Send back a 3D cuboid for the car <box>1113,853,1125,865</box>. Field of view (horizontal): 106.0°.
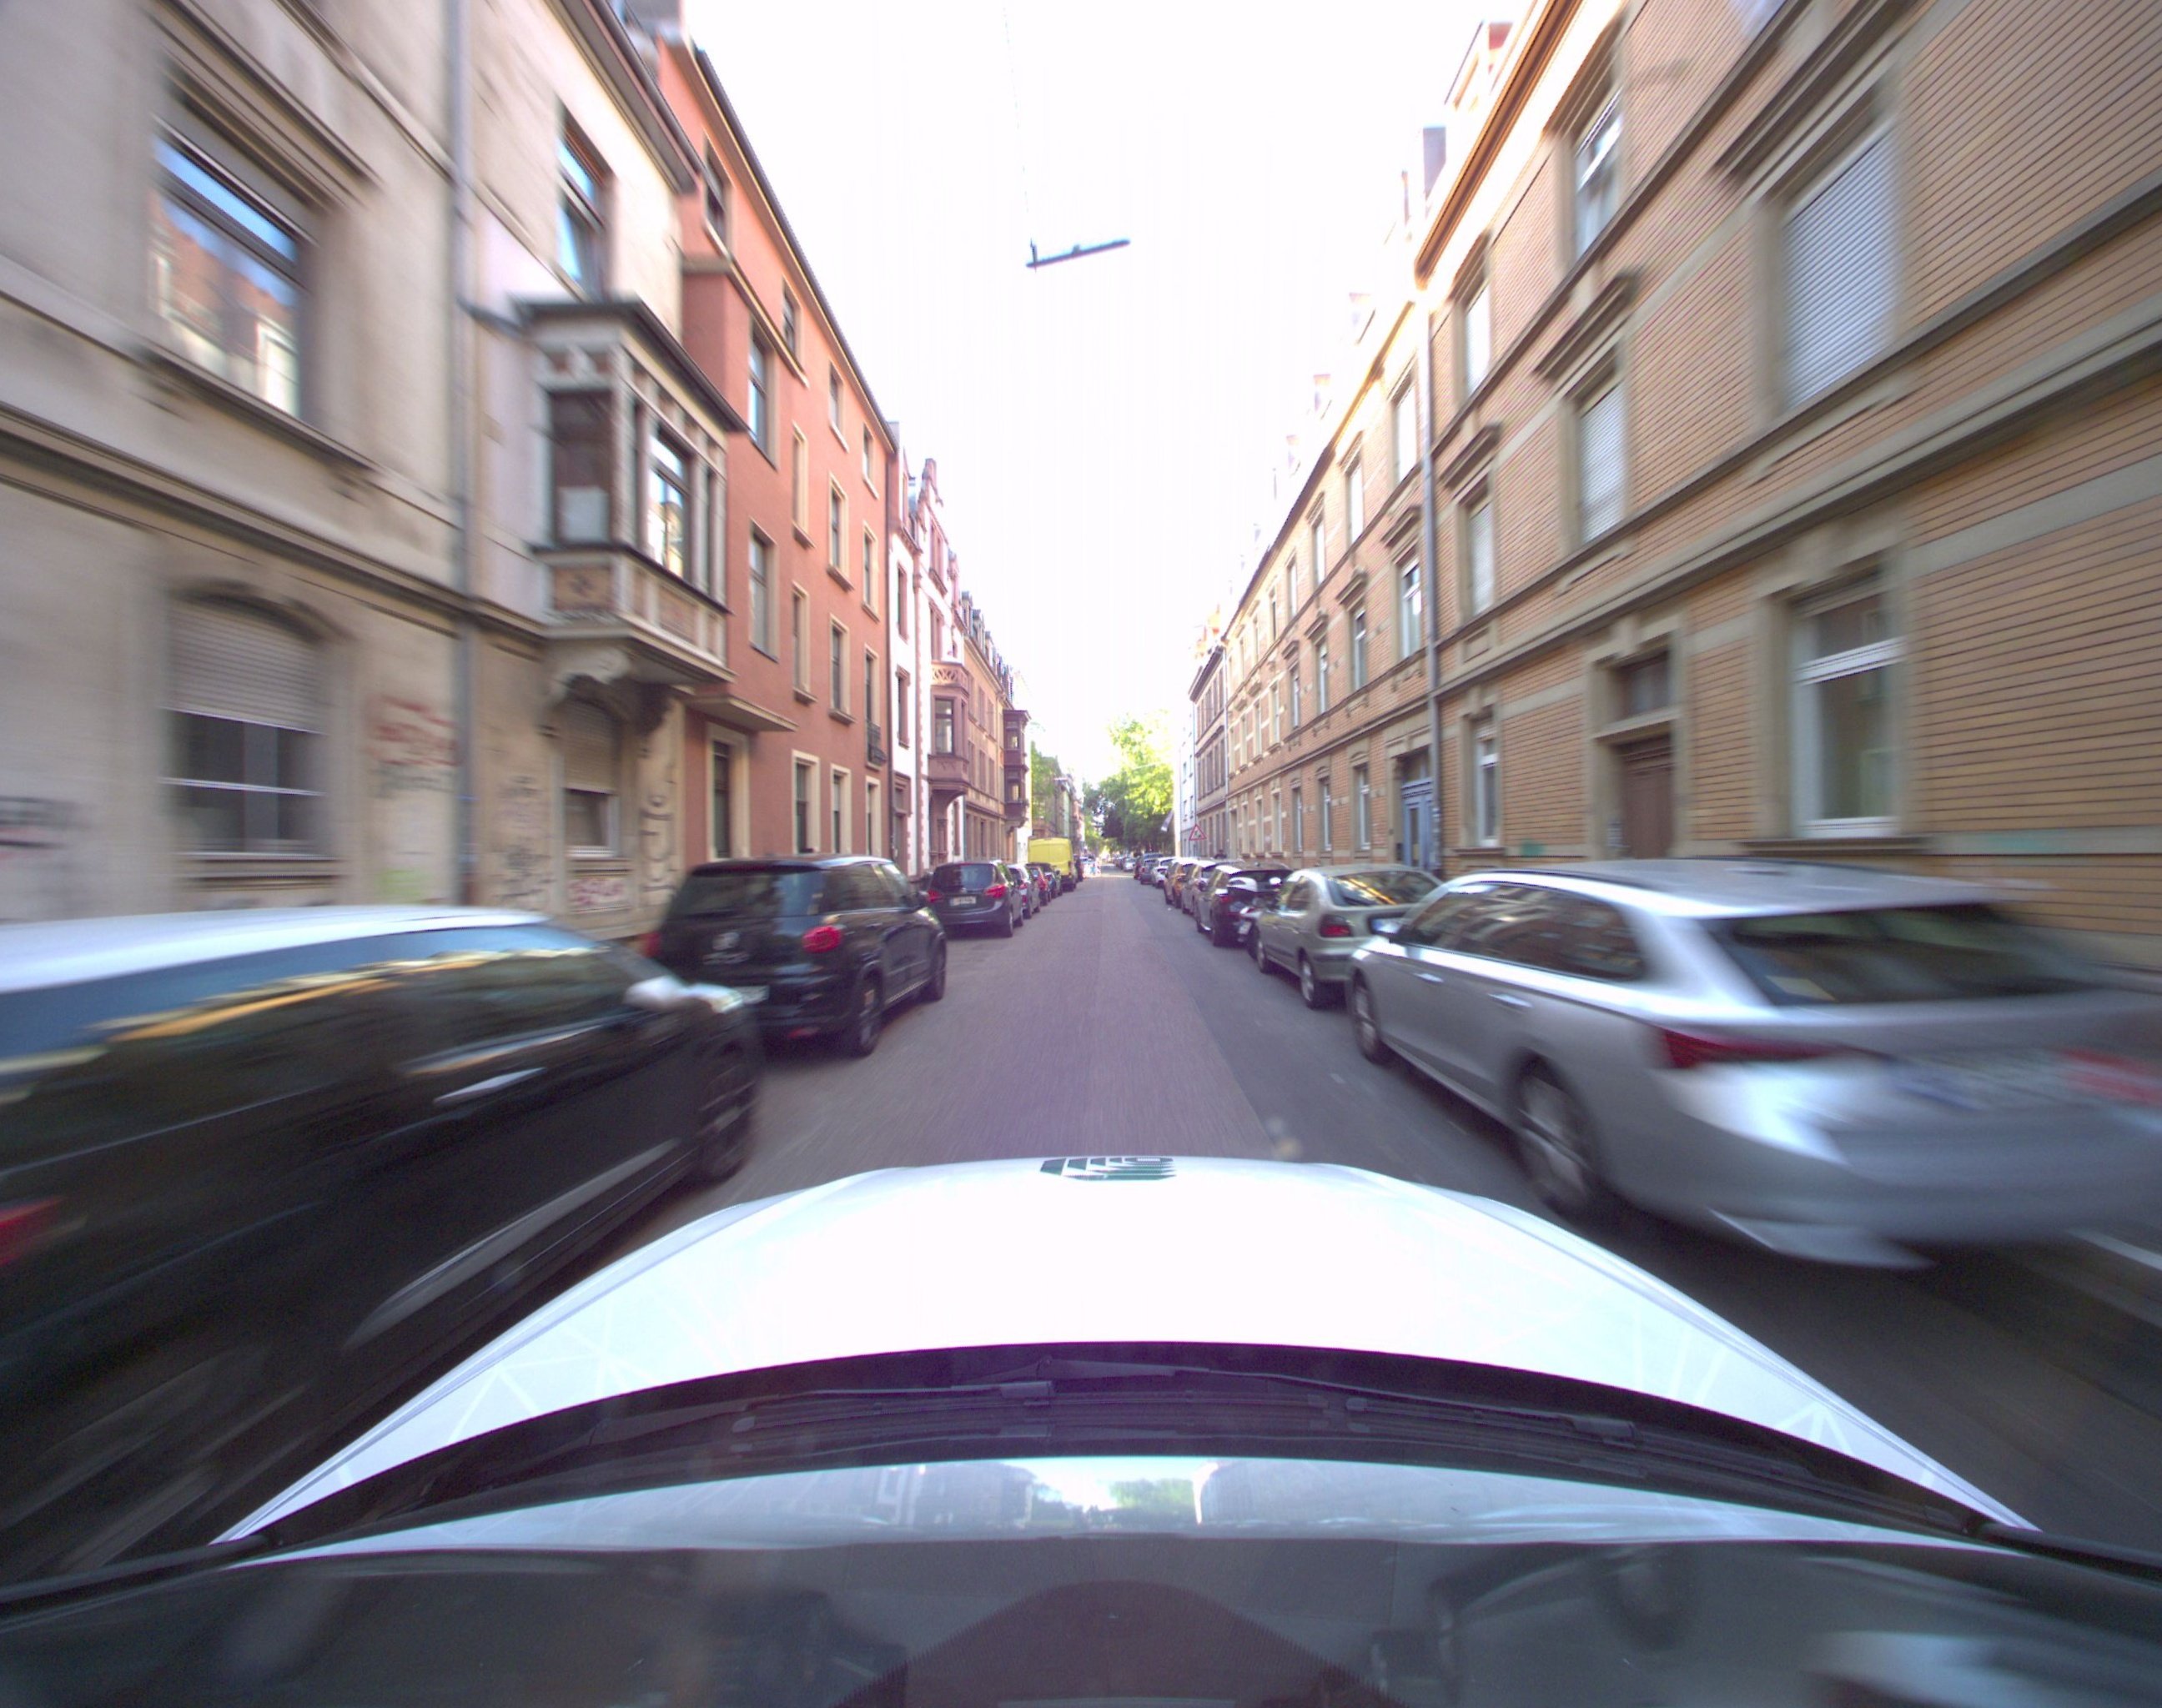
[{"bbox_3d":[7.446,1.057,158.961,2.153,2.255,4.525,-2,-1,1],"label":"car"}]

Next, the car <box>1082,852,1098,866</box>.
[{"bbox_3d":[1.464,0.844,131.554,2.300,2.114,5.173,-2,-1,3],"label":"car"}]

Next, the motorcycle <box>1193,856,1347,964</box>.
[{"bbox_3d":[2.900,0.803,12.478,2.229,1.536,0.883,0,0,-25],"label":"motorcycle"}]

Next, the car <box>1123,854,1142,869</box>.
[{"bbox_3d":[5.470,0.776,87.286,1.719,1.522,3.998,-3,0,-1],"label":"car"}]

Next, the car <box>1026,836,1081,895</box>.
[{"bbox_3d":[-1.264,0.517,39.856,2.167,2.507,5.880,-5,0,1],"label":"car"}]

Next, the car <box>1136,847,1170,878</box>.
[{"bbox_3d":[4.653,0.540,53.182,1.747,1.786,4.725,-5,0,2],"label":"car"}]

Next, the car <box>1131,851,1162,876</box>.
[{"bbox_3d":[4.638,0.676,57.855,1.894,1.640,4.392,-2,-1,1],"label":"car"}]

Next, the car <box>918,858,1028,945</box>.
[{"bbox_3d":[-2.224,0.923,17.804,1.775,1.606,4.069,-2,0,0],"label":"car"}]

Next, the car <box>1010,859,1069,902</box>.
[{"bbox_3d":[-1.623,1.024,33.183,1.711,1.412,3.903,-7,0,5],"label":"car"}]

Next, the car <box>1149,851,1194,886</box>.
[{"bbox_3d":[4.575,0.696,41.851,1.748,1.518,4.444,-6,0,1],"label":"car"}]

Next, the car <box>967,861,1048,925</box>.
[{"bbox_3d":[-1.970,1.019,22.931,1.688,1.474,3.921,-5,0,2],"label":"car"}]

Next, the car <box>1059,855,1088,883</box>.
[{"bbox_3d":[-0.515,0.962,54.626,1.813,1.766,4.333,-2,0,-1],"label":"car"}]

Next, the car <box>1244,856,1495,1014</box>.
[{"bbox_3d":[3.124,0.773,9.698,1.685,1.406,3.995,-2,0,2],"label":"car"}]

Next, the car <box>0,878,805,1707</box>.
[{"bbox_3d":[-2.514,0.934,2.844,1.637,1.455,3.839,-5,0,1],"label":"car"}]

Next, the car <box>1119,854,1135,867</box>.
[{"bbox_3d":[6.142,0.873,108.568,1.888,1.625,4.000,-2,-1,1],"label":"car"}]

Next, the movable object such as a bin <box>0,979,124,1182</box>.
[{"bbox_3d":[-5.621,1.160,4.142,0.610,0.920,0.734,-2,0,1],"label":"movable object such as a bin"}]

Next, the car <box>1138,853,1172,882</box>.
[{"bbox_3d":[4.296,0.755,47.748,1.746,1.452,4.291,-6,0,3],"label":"car"}]

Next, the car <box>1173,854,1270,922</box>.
[{"bbox_3d":[3.591,0.807,21.502,1.720,1.417,4.093,-6,0,0],"label":"car"}]

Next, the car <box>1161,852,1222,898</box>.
[{"bbox_3d":[4.166,0.750,31.214,1.715,1.480,4.083,-6,0,1],"label":"car"}]

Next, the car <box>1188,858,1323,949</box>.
[{"bbox_3d":[3.165,0.827,15.612,1.770,1.397,4.320,-2,0,2],"label":"car"}]

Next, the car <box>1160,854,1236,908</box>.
[{"bbox_3d":[3.671,0.804,26.247,1.748,1.446,4.068,-5,0,0],"label":"car"}]

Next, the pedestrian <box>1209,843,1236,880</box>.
[{"bbox_3d":[6.430,0.340,37.003,0.659,1.630,0.870,-3,-1,-40],"label":"pedestrian"}]

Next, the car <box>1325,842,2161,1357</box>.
[{"bbox_3d":[2.864,0.730,4.635,1.755,1.484,4.404,-2,0,2],"label":"car"}]

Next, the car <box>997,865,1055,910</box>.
[{"bbox_3d":[-1.862,1.125,28.583,1.612,1.326,3.613,-5,0,1],"label":"car"}]

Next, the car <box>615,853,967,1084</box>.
[{"bbox_3d":[-2.414,0.837,8.031,1.754,1.617,4.191,-2,0,2],"label":"car"}]

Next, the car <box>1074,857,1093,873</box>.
[{"bbox_3d":[0.302,1.238,93.781,1.874,1.707,4.002,-4,-1,2],"label":"car"}]
